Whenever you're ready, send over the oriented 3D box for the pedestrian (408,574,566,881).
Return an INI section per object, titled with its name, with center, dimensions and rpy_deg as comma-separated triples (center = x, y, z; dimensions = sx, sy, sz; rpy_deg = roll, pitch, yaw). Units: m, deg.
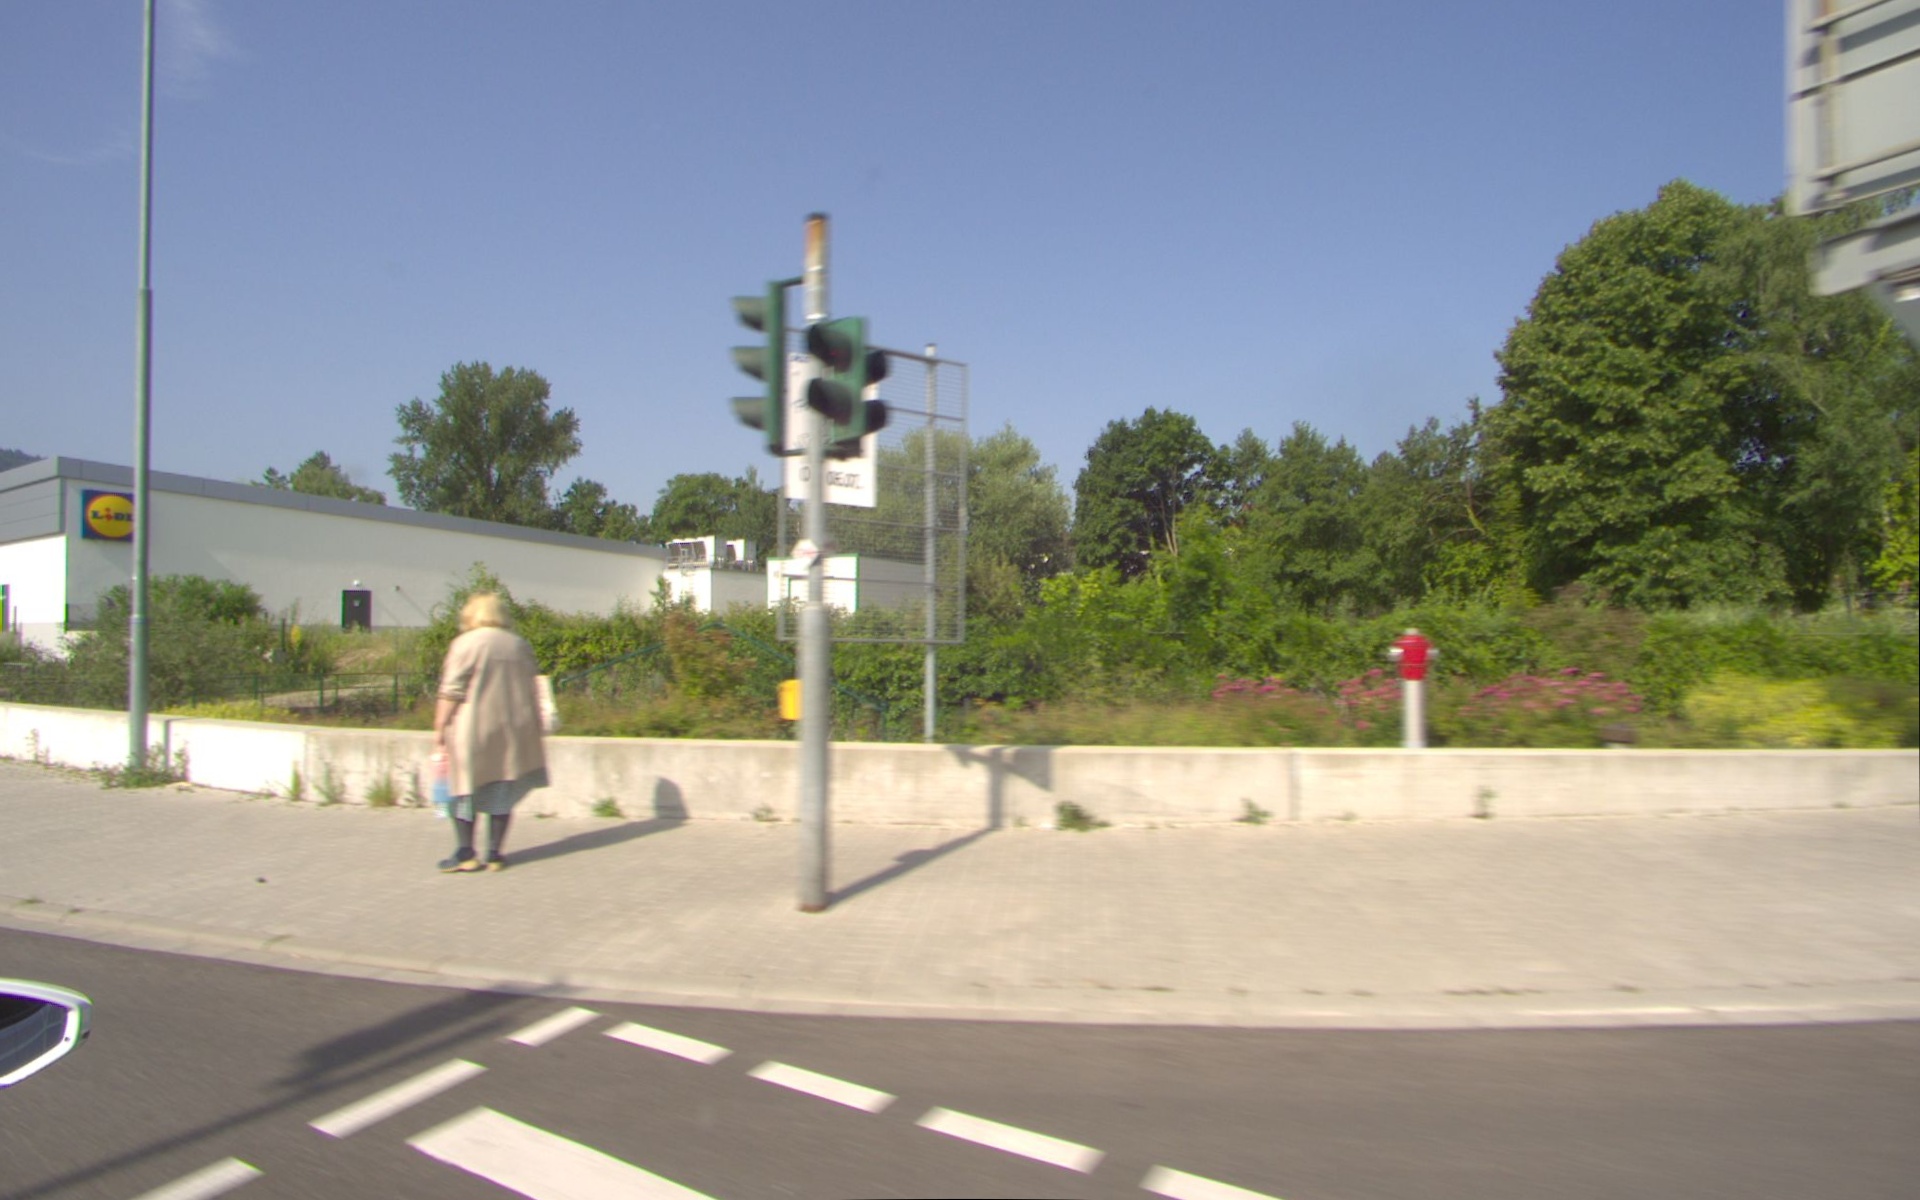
[pedestrian]
center = -2.831, 0.718, 5.994
dimensions = 0.706, 1.692, 0.587
rpy_deg = 1, -1, -45
